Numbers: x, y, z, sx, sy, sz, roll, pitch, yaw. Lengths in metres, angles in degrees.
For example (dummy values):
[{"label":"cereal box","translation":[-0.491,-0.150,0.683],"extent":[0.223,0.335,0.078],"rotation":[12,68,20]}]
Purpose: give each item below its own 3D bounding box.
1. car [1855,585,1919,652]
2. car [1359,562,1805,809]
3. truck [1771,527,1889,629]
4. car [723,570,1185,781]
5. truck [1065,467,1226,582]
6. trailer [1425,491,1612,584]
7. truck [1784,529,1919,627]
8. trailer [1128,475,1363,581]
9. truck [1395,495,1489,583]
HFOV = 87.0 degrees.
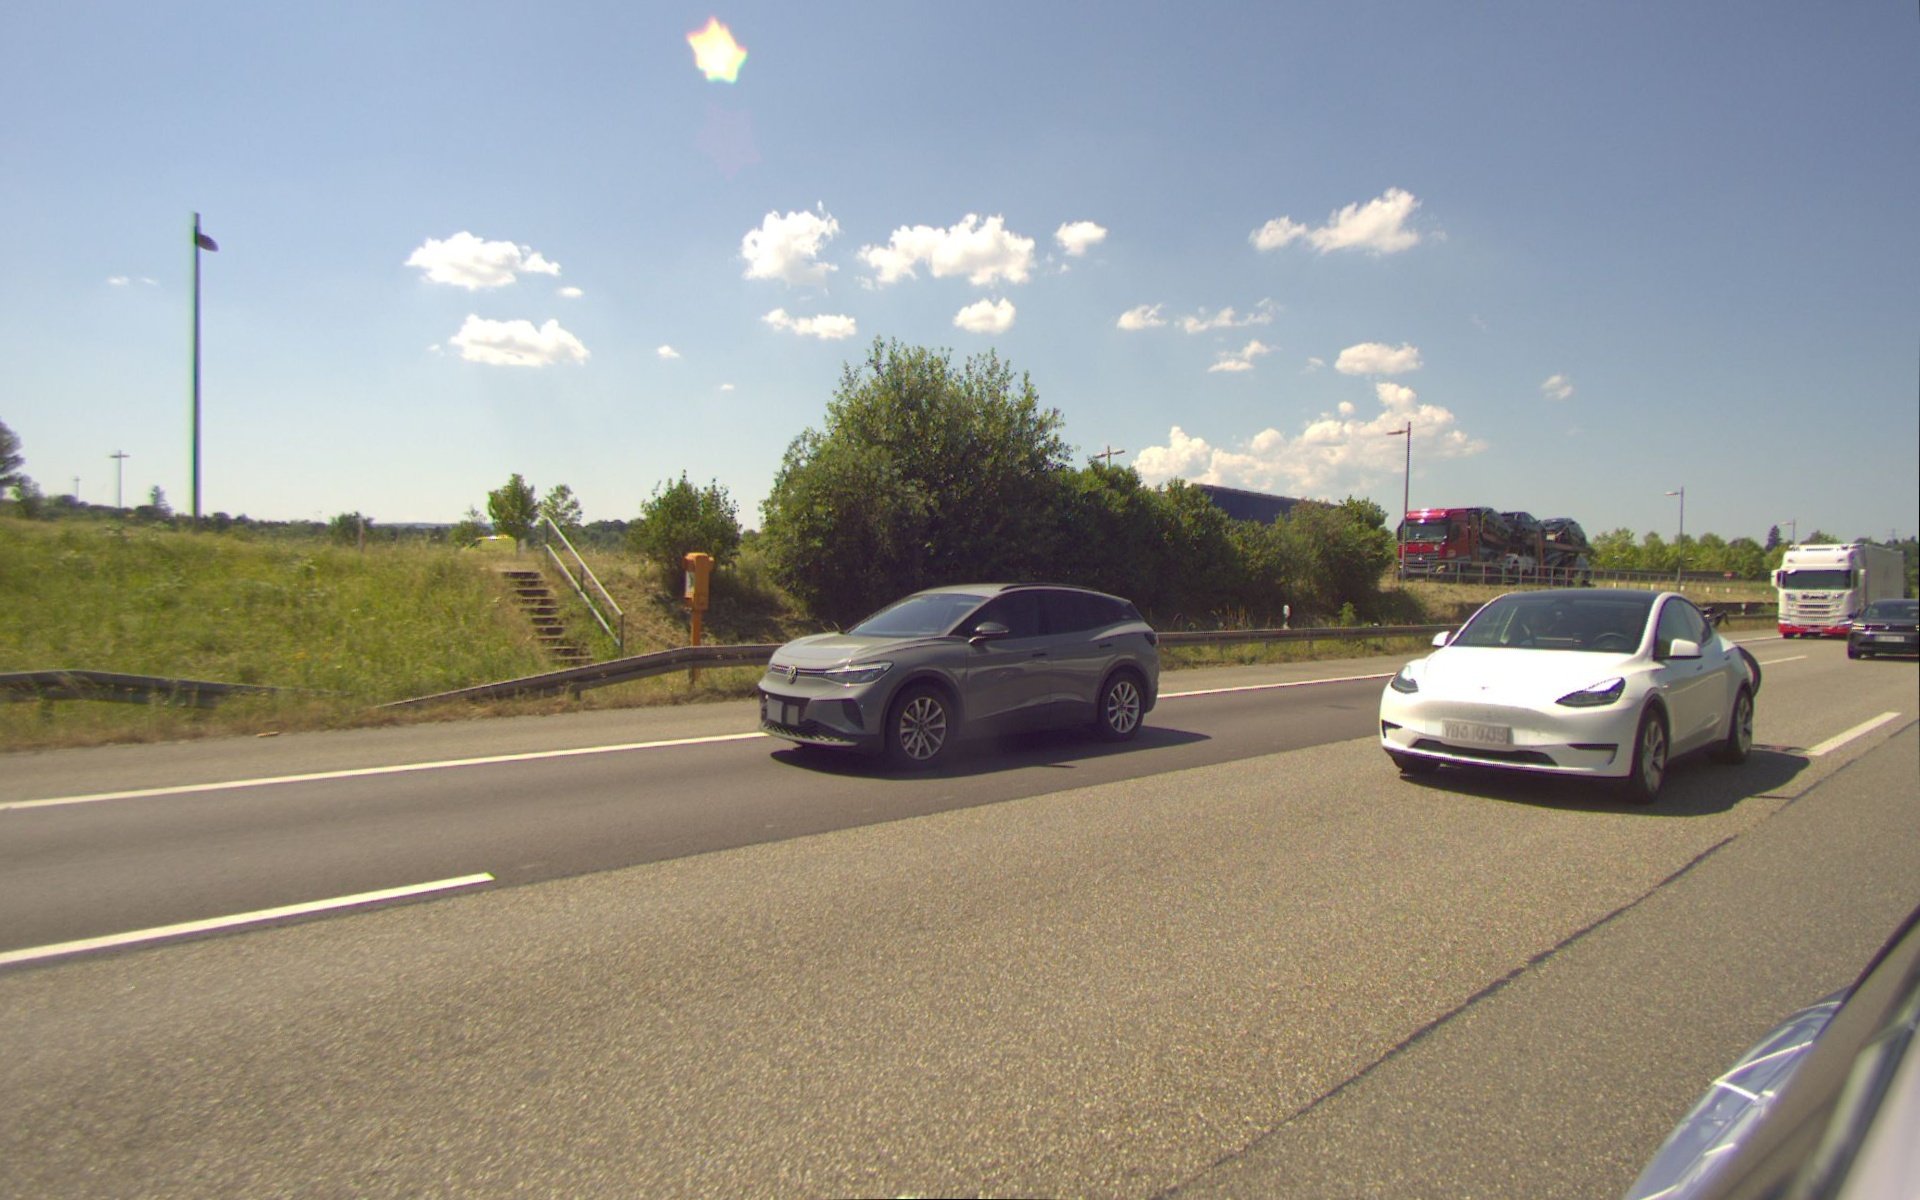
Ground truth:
[{"label":"car","translation":[25.446,0.444,26.811],"extent":[3.974,1.667,1.955],"rotation":[-1,0,-39]},{"label":"car","translation":[5.985,0.535,9.358],"extent":[5.503,1.657,1.954],"rotation":[-1,0,-41]},{"label":"truck","translation":[35.711,-0.877,41.542],"extent":[3.779,3.957,3.074],"rotation":[-1,0,-40]},{"label":"car","translation":[0.114,0.554,10.144],"extent":[4.506,1.657,1.871],"rotation":[-1,1,-41]},{"label":"truck","translation":[7.451,-2.825,40.228],"extent":[6.288,4.134,3.057],"rotation":[-1,0,-42]},{"label":"trailer","translation":[30.383,-3.096,54.239],"extent":[18.100,4.311,2.610],"rotation":[-1,0,-41]},{"label":"truck","translation":[40.690,-0.958,45.762],"extent":[12.283,3.957,3.074],"rotation":[-1,0,-40]},{"label":"trailer","translation":[13.217,-2.951,45.402],"extent":[14.012,4.134,3.057],"rotation":[-1,0,-42]},{"label":"truck","translation":[22.673,-2.779,47.605],"extent":[3.930,3.875,2.607],"rotation":[-1,0,-40]}]
